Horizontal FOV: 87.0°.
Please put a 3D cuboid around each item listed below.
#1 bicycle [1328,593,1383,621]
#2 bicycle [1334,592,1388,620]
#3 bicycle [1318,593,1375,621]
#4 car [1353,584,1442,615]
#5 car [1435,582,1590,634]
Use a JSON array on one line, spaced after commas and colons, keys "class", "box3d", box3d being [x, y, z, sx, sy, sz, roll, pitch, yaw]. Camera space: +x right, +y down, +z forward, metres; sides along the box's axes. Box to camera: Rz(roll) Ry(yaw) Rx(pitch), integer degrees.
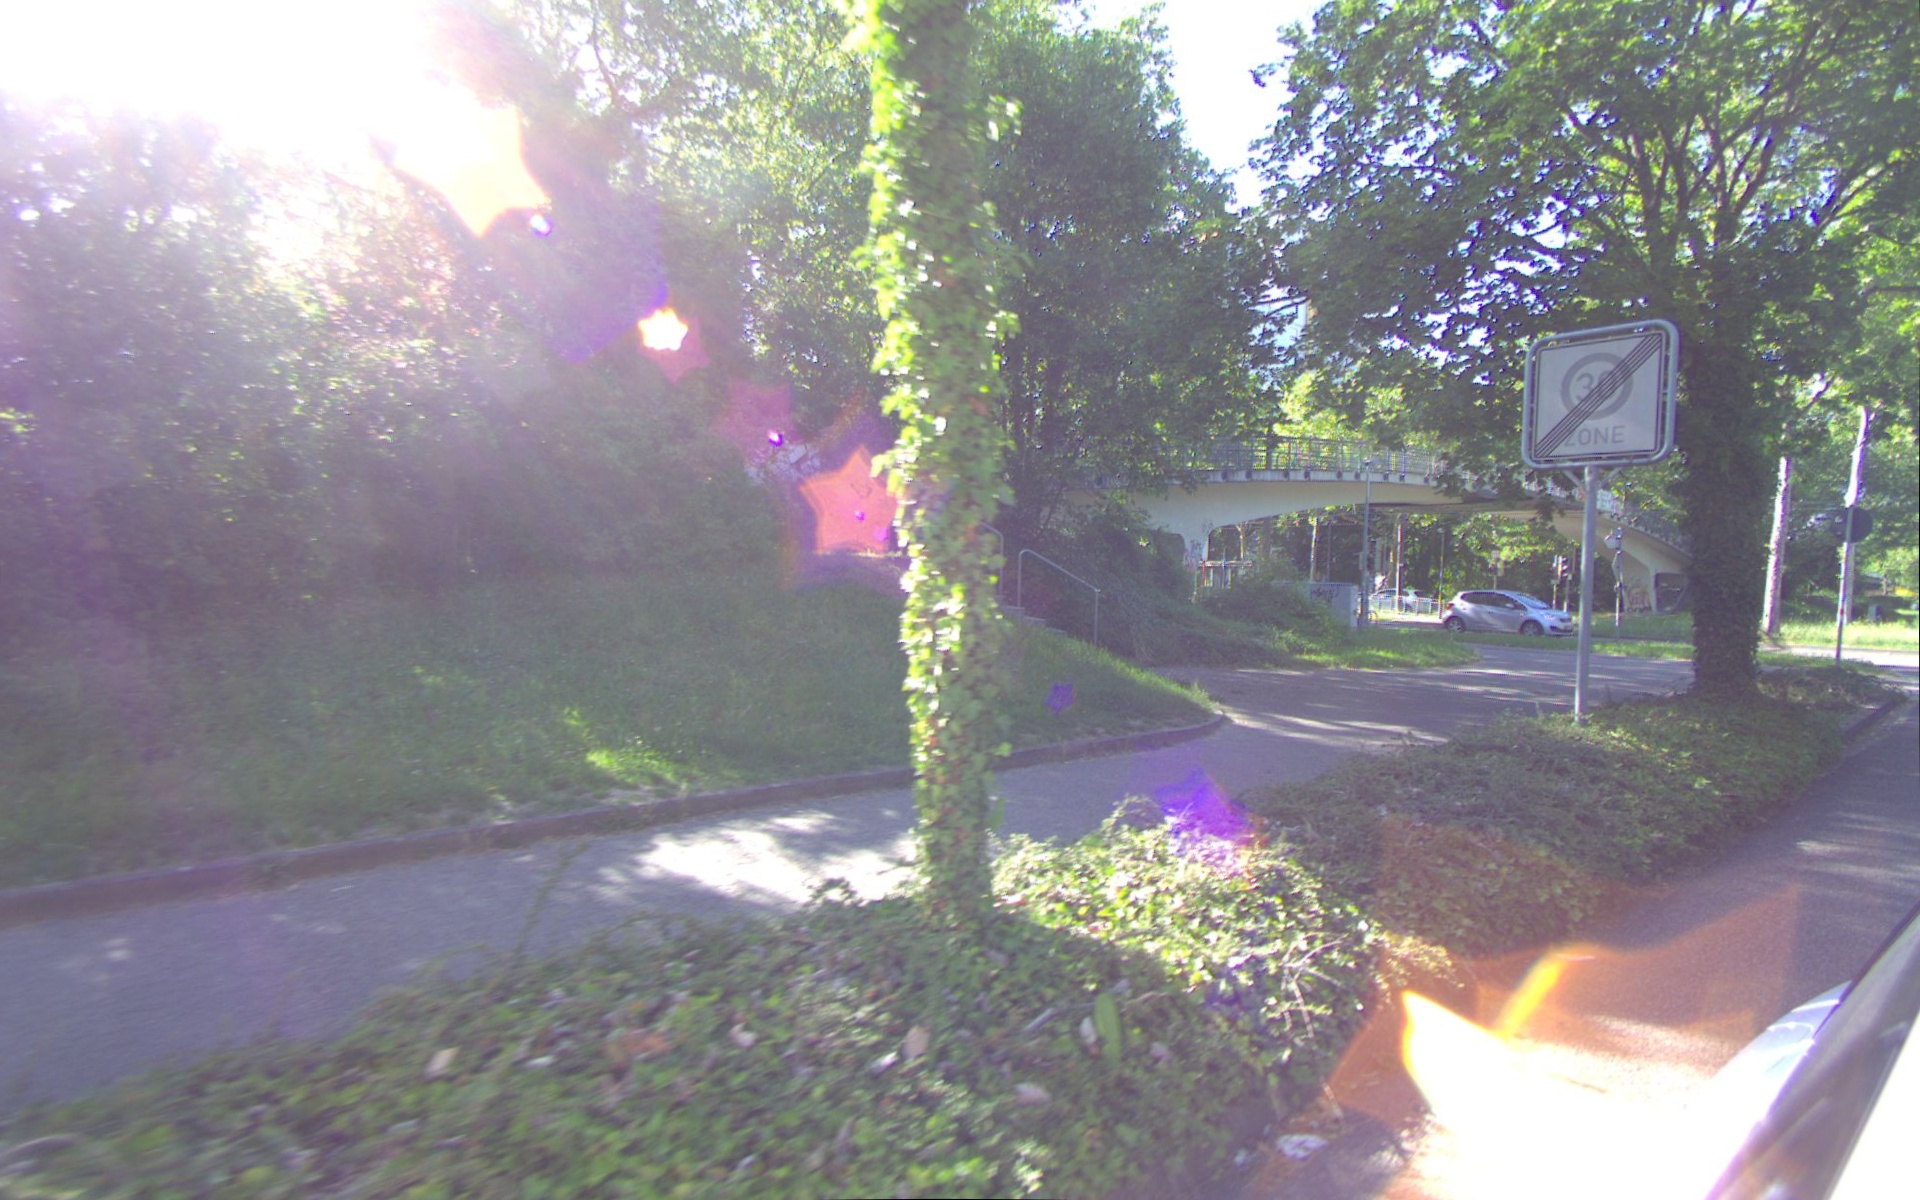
[{"class": "bicycle", "box3d": [13.206, 0.228, 33.856, 0.451, 0.924, 1.717, 0, 0, -39]}, {"class": "bicycle", "box3d": [13.600, 0.202, 34.356, 0.451, 0.924, 1.717, 0, 0, -39]}, {"class": "bicycle", "box3d": [12.753, 0.225, 33.427, 0.504, 0.924, 1.717, 0, 0, -39]}, {"class": "car", "box3d": [24.635, -0.021, 57.125, 1.688, 1.667, 4.331, 0, 0, -38]}, {"class": "car", "box3d": [18.673, 0.247, 34.391, 1.688, 1.667, 4.331, 0, 0, -37]}]
